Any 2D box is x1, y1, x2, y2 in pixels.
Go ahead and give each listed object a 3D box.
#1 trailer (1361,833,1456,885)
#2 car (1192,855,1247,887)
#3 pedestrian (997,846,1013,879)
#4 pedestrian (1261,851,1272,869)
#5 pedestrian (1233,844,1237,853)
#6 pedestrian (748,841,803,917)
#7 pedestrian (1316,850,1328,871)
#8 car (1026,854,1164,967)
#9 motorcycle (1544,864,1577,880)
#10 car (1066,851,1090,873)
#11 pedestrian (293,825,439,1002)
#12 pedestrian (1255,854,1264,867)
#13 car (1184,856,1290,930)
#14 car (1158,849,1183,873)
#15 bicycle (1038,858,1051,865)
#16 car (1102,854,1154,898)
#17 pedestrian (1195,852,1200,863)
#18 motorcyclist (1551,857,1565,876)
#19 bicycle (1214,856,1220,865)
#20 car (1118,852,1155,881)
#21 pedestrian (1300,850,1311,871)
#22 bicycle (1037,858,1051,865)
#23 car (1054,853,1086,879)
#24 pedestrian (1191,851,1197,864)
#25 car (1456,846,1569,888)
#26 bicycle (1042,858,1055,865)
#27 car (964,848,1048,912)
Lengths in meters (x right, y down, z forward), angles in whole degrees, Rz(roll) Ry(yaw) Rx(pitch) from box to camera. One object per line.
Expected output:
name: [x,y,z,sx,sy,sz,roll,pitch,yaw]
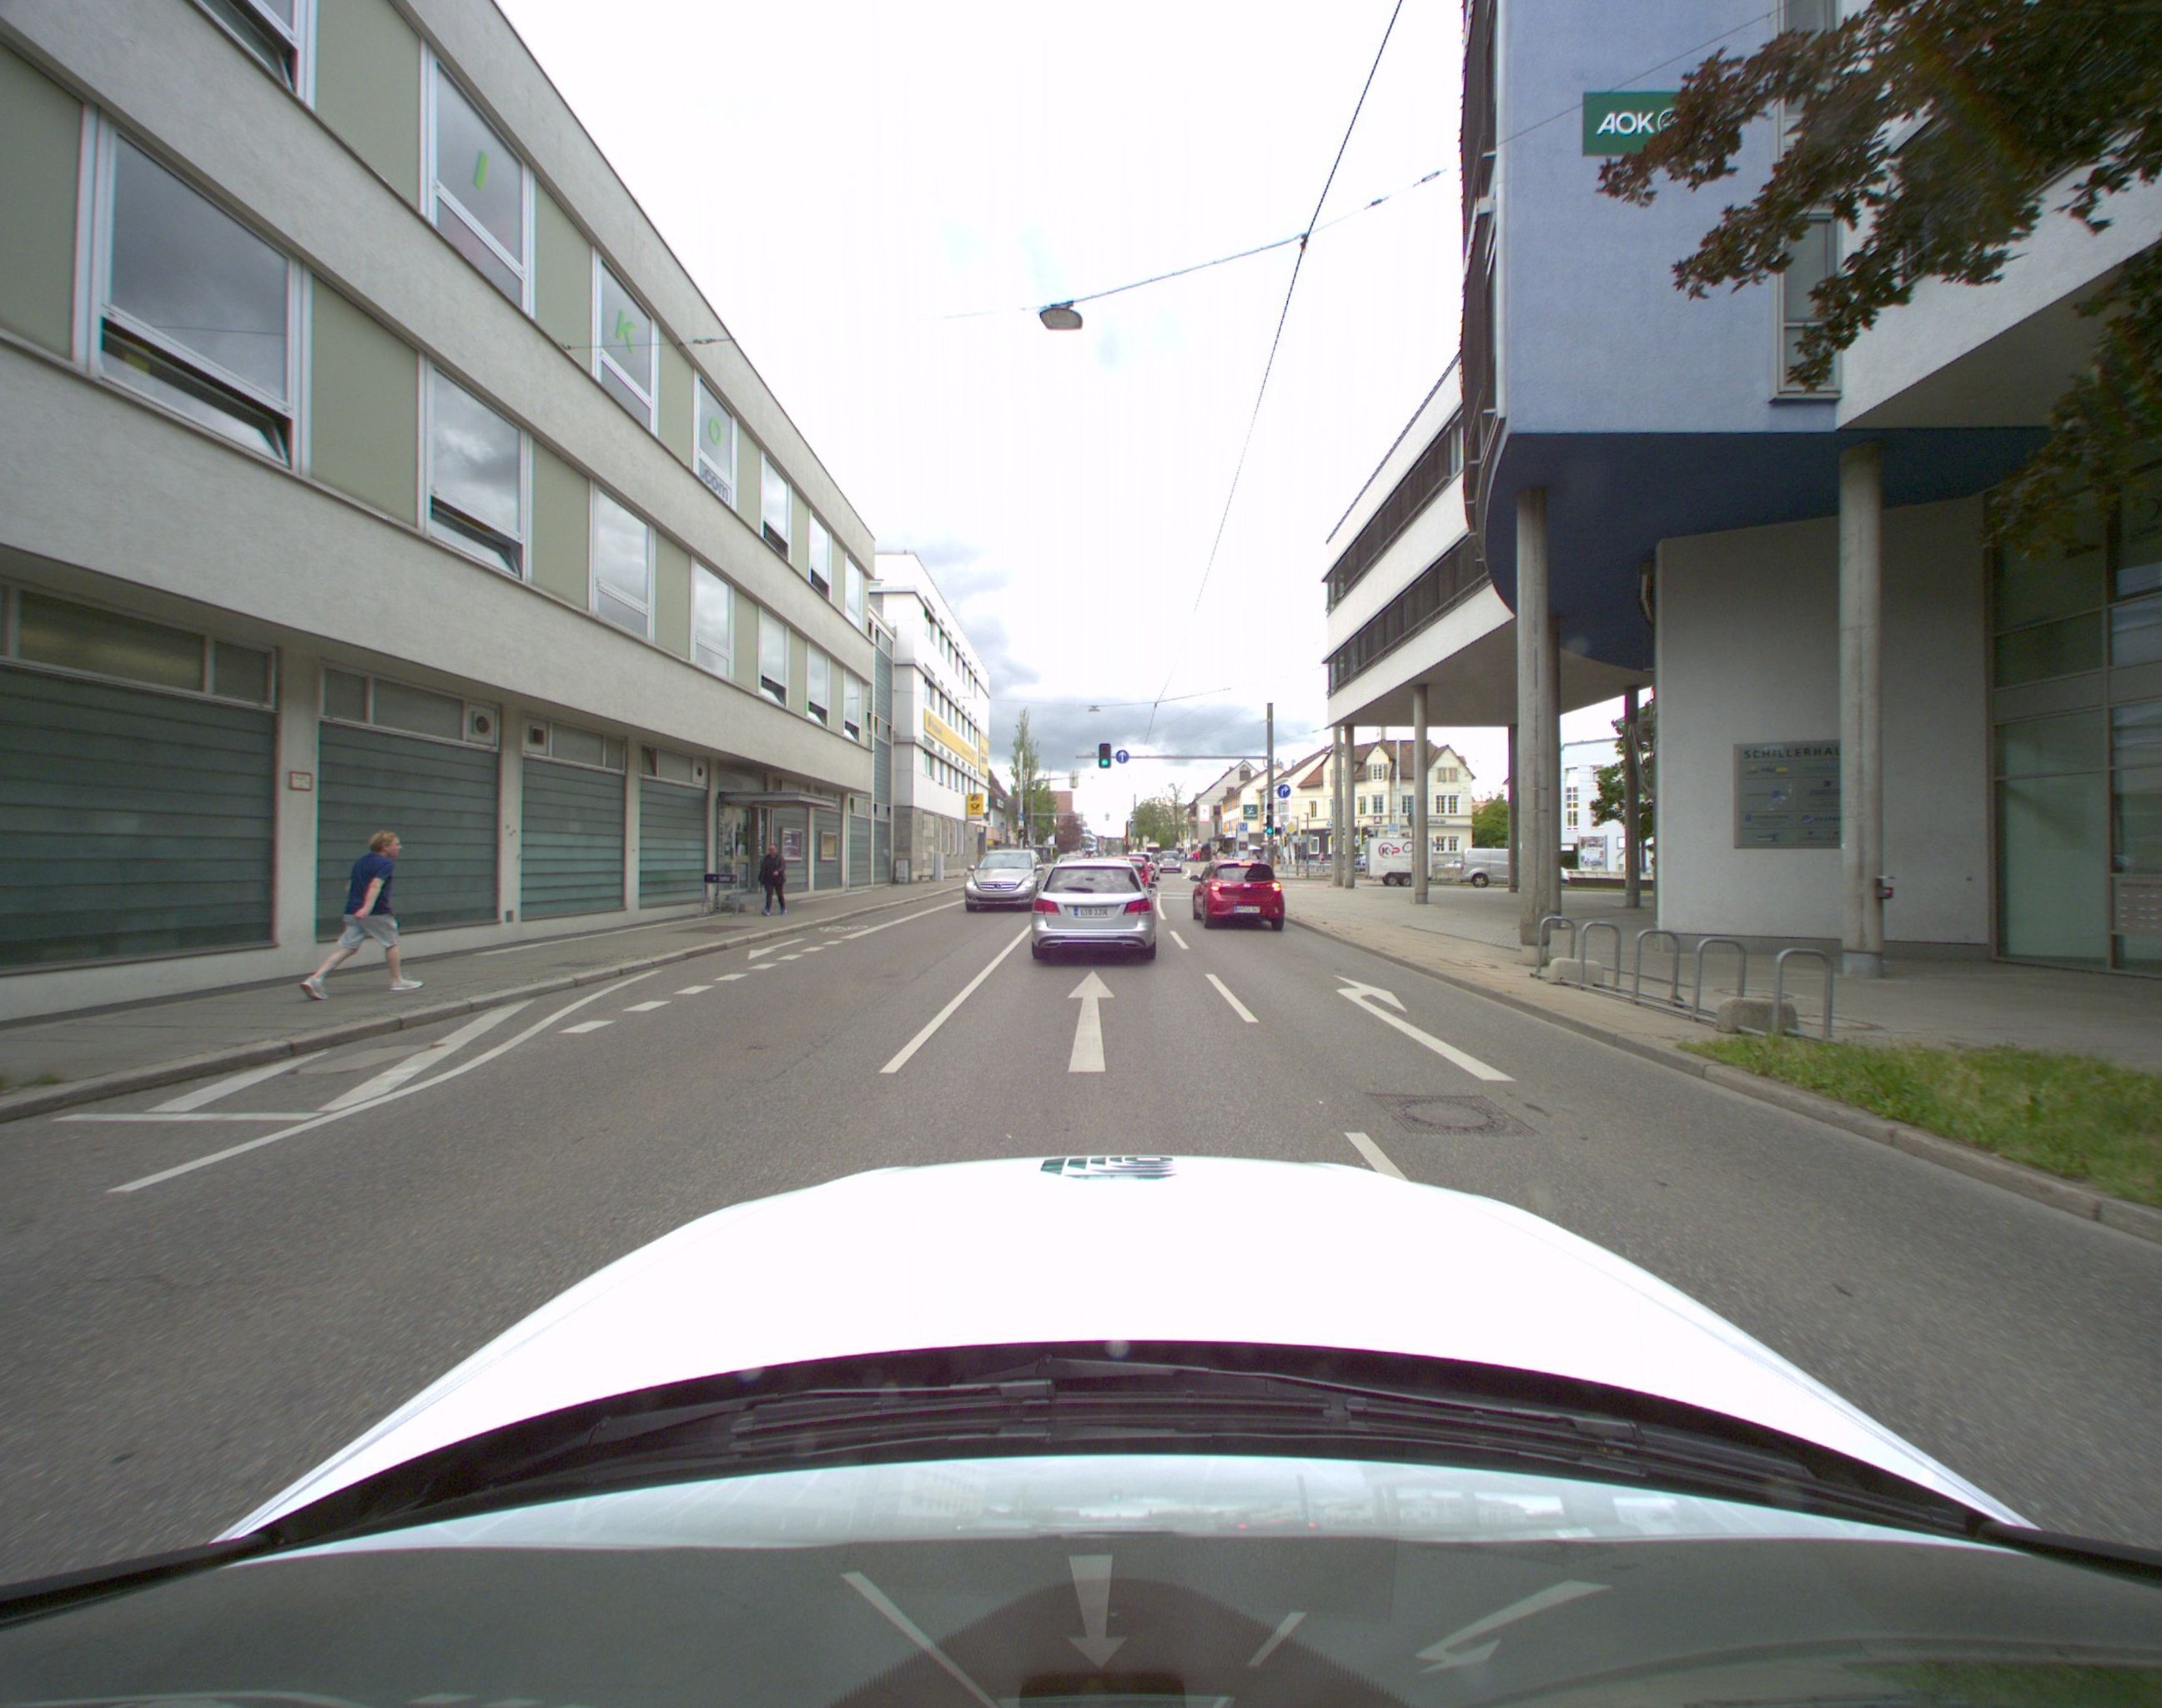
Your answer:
trailer: [16.837,0.257,42.037,4.280,2.613,1.890,0,-1,12]
car: [6.647,0.776,38.790,1.719,1.410,4.021,0,0,22]
pedestrian: [-4.030,0.460,43.153,0.644,1.718,0.785,1,0,9]
pedestrian: [17.833,0.585,78.302,0.838,1.718,0.727,0,0,-2]
pedestrian: [21.904,-0.812,115.963,0.531,1.218,0.579,1,0,-1]
pedestrian: [-7.214,0.574,19.262,0.859,1.718,1.031,1,0,-1]
pedestrian: [19.929,0.545,67.415,0.646,1.718,0.788,1,0,-4]
car: [0.183,0.755,13.065,1.840,1.508,4.170,0,0,0]
motorcycle: [34.914,1.298,59.304,0.767,1.073,1.958,2,-1,-37]
car: [-0.228,0.650,68.061,1.792,1.694,3.899,-1,0,2]
pedestrian: [-7.394,0.577,8.479,0.587,1.718,1.055,0,0,0]
pedestrian: [22.112,0.763,100.852,0.642,1.591,0.892,1,0,-18]
car: [3.474,0.817,18.822,1.692,1.452,4.000,2,0,1]
car: [6.943,0.529,63.463,1.727,1.759,4.003,0,0,3]
bicycle: [-5.466,1.097,122.274,1.936,1.029,0.529,1,0,-8]
car: [1.818,0.766,30.341,1.725,1.508,4.007,1,0,6]
pedestrian: [15.589,0.510,108.860,0.576,1.469,0.650,1,0,-4]
motorcyclist: [34.820,0.923,59.438,0.767,1.394,0.685,2,-1,-38]
bicycle: [16.805,0.784,100.405,0.446,1.107,2.150,0,0,3]
car: [3.014,0.674,44.638,1.729,1.508,3.999,0,0,0]
pedestrian: [18.730,0.511,67.934,0.705,1.718,0.645,0,0,-22]
bicycle: [-5.581,1.097,122.937,1.936,1.029,0.529,1,0,-8]
car: [-0.597,0.681,48.144,1.651,1.466,3.922,-1,0,2]
pedestrian: [15.541,0.468,112.059,0.578,1.666,0.649,1,0,-11]
car: [21.238,0.622,40.199,4.844,1.946,1.895,1,-1,29]
bicycle: [-5.034,1.115,126.252,1.936,1.029,0.529,1,0,-8]
car: [-2.037,0.670,23.501,1.769,1.632,4.770,-1,0,2]
